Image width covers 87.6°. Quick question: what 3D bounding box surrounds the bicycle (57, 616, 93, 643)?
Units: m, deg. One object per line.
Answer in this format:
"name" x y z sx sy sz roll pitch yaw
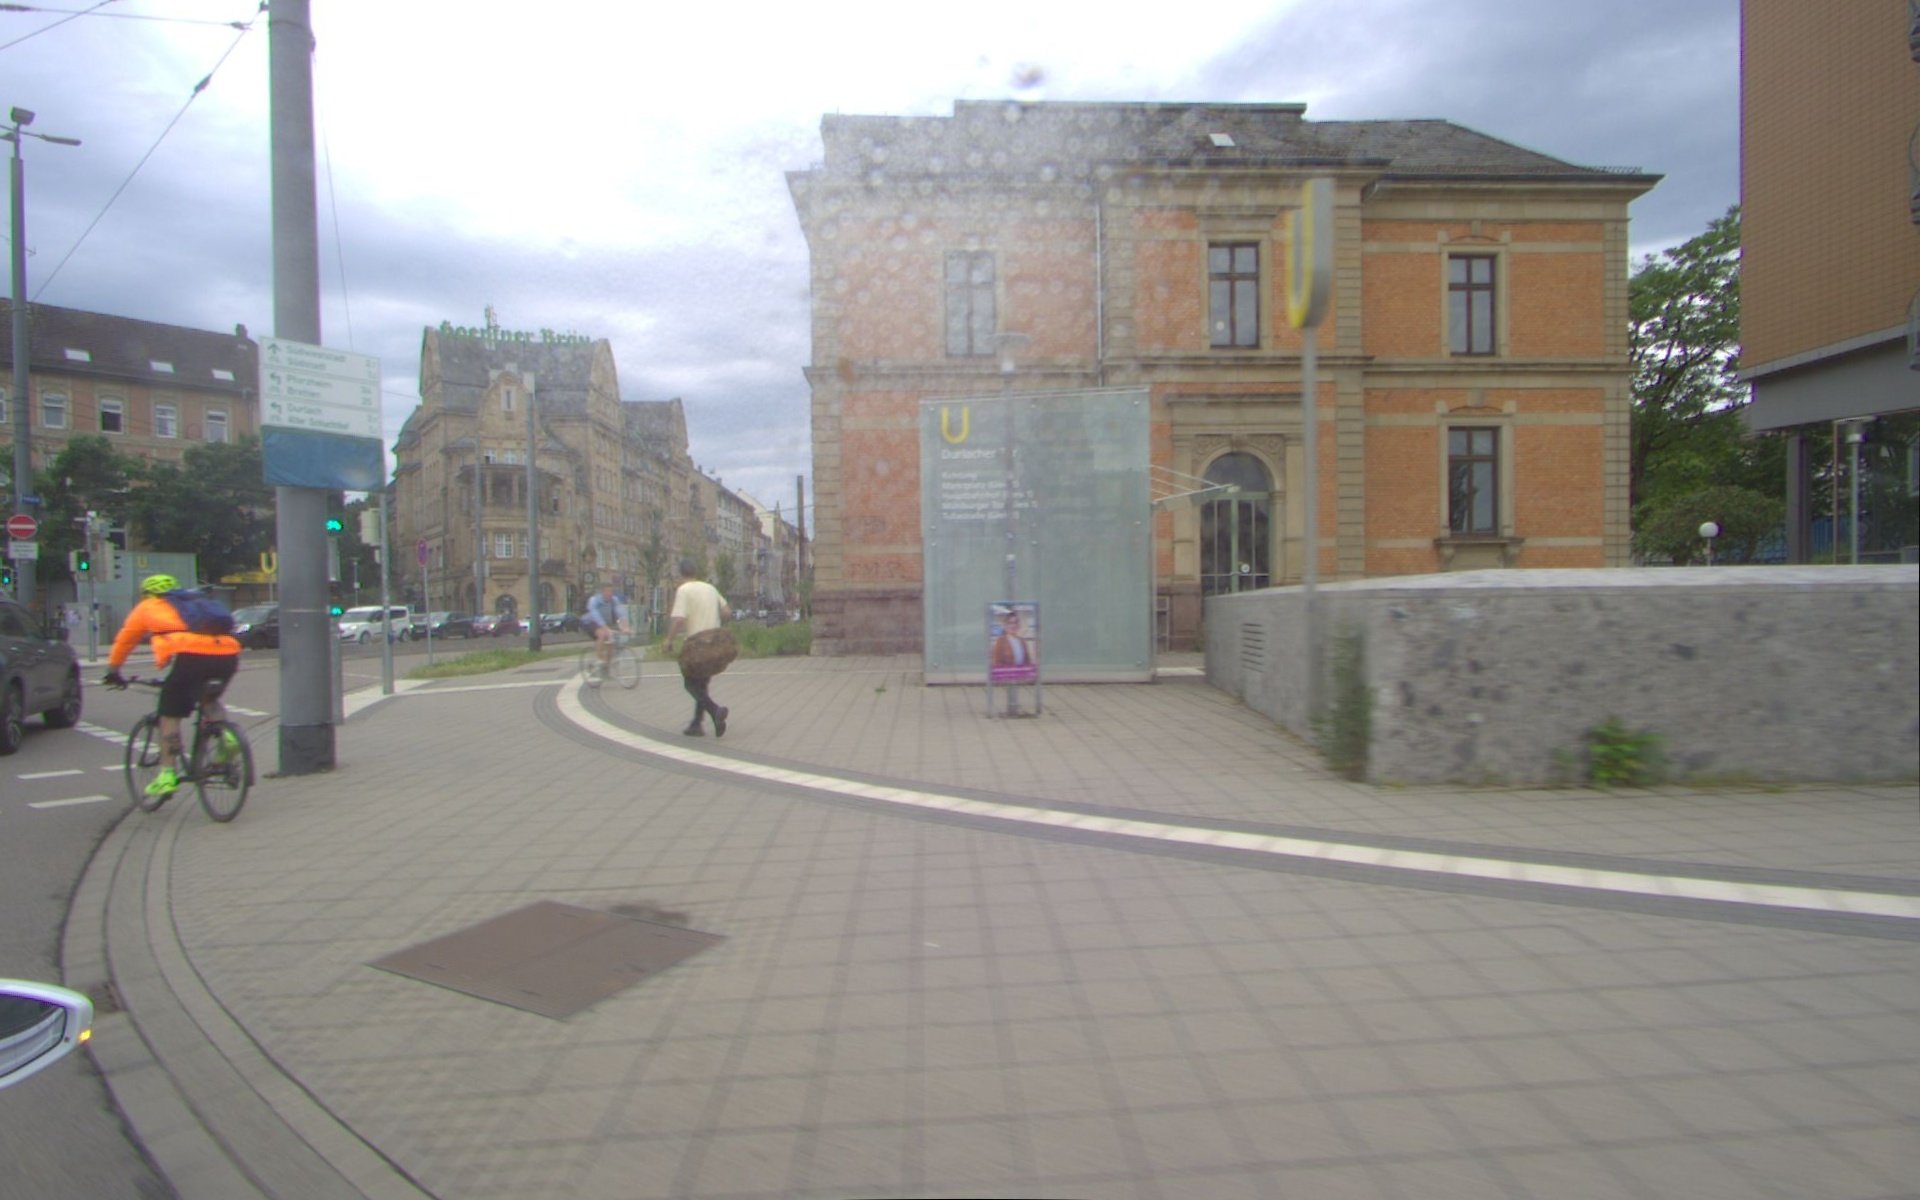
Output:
"bicycle" -45.456 1.506 51.445 0.948 1.371 3.101 0 -2 -33

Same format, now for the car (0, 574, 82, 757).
"car" -11.057 0.653 10.828 1.731 1.779 3.900 0 0 -32

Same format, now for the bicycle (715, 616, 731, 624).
"bicycle" -31.051 2.627 131.174 1.891 1.014 0.463 0 0 -9

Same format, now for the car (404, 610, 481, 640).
"car" -28.599 1.362 55.536 1.833 1.554 4.302 -2 -1 3

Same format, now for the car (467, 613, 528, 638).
"car" -28.276 1.523 61.327 1.833 1.417 3.895 -2 -1 2

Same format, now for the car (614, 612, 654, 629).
"car" -27.638 1.738 84.959 1.895 1.398 4.258 0 0 1

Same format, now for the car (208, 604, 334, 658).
"car" -26.163 1.152 38.197 1.661 1.925 4.387 -1 -1 2

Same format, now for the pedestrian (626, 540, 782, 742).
"pedestrian" -2.576 0.397 10.105 1.268 1.892 0.883 0 0 32

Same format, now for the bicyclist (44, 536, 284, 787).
"bicyclist" -5.699 0.413 7.185 1.300 1.642 0.827 -1 0 24

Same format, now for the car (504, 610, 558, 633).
"car" -28.861 1.442 67.534 1.718 1.398 4.362 -3 -1 -1

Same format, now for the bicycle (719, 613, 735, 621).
"bicycle" -31.847 2.323 136.832 2.195 1.141 0.504 0 0 -9

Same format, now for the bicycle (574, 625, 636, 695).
"bicycle" -5.701 0.926 16.022 0.662 0.946 1.851 -4 2 -26

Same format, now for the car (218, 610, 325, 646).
"car" -29.151 1.156 42.550 1.661 1.461 4.000 -1 -1 2

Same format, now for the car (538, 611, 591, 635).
"car" -25.126 1.448 63.712 1.661 1.461 4.000 -1 -1 2

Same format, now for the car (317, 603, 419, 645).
"car" -29.120 1.165 49.453 1.832 1.941 5.101 0 0 3

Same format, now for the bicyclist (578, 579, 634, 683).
"bicyclist" -5.663 0.470 15.995 0.682 1.582 0.922 -2 3 -28

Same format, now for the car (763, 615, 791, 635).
"car" -14.422 1.970 79.089 1.611 1.452 3.930 -3 0 -2

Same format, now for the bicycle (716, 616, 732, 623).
"bicycle" -31.105 2.564 131.931 1.935 1.014 0.463 0 0 -9

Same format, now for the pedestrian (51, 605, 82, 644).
"pedestrian" -41.099 1.123 46.061 0.592 1.751 0.909 0 0 24

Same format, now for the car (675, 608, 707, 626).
"car" -26.511 1.648 98.844 1.833 1.728 4.909 -2 0 -1

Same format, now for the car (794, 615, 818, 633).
"car" -14.713 2.283 95.721 1.727 1.595 3.930 -3 0 -2

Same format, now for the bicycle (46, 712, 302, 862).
"bicycle" -5.664 1.290 7.189 2.039 0.859 0.556 -1 0 24
